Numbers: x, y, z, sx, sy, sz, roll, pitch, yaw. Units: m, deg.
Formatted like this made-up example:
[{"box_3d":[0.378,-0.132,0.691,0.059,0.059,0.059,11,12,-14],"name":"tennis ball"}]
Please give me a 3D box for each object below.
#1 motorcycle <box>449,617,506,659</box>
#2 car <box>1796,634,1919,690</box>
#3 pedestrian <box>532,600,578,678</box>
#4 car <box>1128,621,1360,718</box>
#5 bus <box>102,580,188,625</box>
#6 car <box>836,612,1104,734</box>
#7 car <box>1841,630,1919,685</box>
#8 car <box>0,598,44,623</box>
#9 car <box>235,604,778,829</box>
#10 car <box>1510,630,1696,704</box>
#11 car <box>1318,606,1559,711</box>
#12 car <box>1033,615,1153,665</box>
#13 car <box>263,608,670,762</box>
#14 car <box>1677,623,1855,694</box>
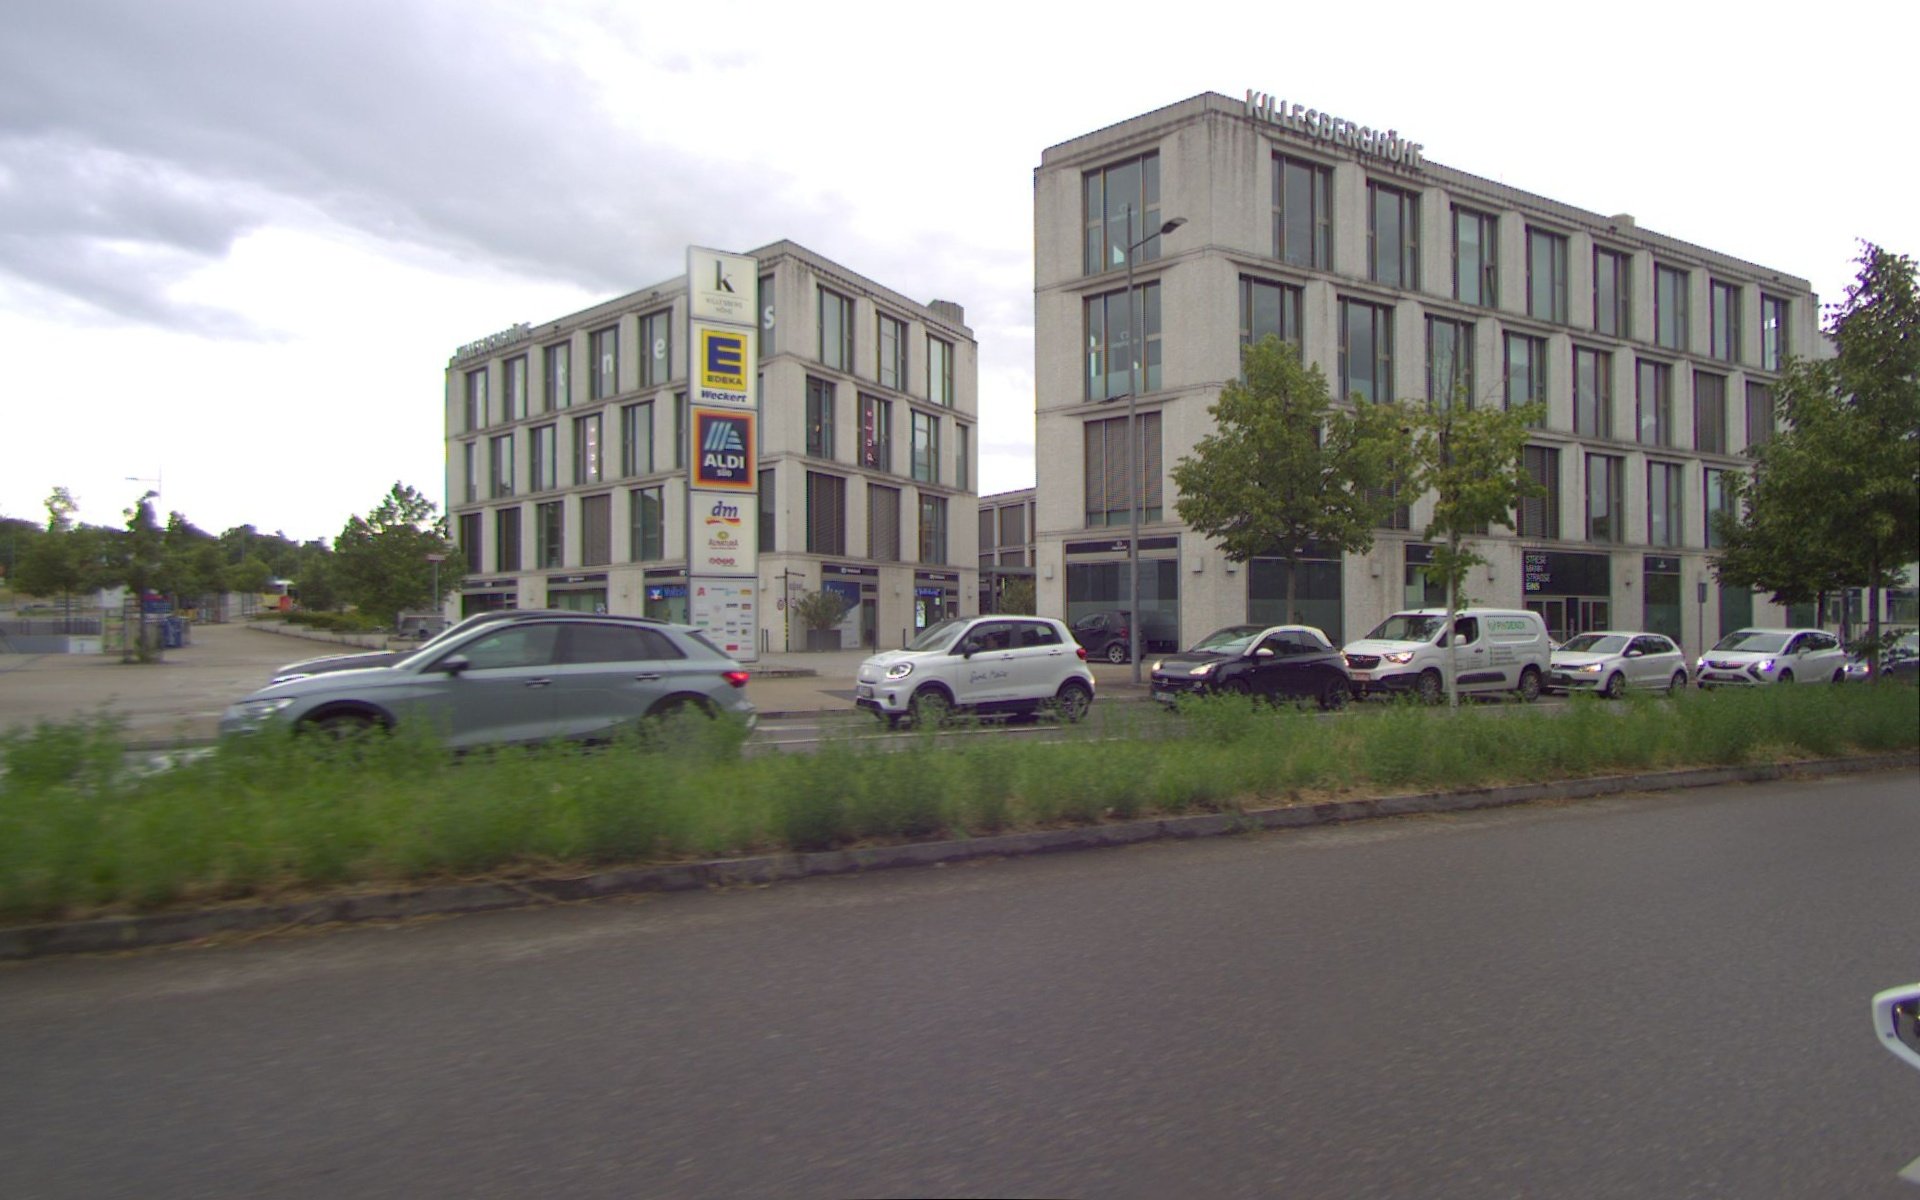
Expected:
[{"box_3d":[-16.866,1.301,35.130,1.737,1.421,0.523,0,0,-35],"name":"motorcycle"},{"box_3d":[25.697,1.715,28.480,3.945,1.429,1.635,0,-2,-27],"name":"car"},{"box_3d":[-9.070,0.861,22.518,0.737,1.709,0.681,0,0,3],"name":"pedestrian"},{"box_3d":[4.901,1.125,17.293,3.703,1.479,1.708,0,-2,-28],"name":"car"},{"box_3d":[-58.407,0.225,72.263,2.846,3.028,9.933,1,-1,-28],"name":"bus"},{"box_3d":[0.169,1.002,14.931,3.656,1.597,1.643,0,-2,-29],"name":"car"},{"box_3d":[34.218,2.080,36.177,5.197,1.839,2.113,3,-2,-29],"name":"car"},{"box_3d":[-79.714,0.887,85.374,1.977,2.040,3.966,0,0,-31],"name":"car"},{"box_3d":[-3.927,0.864,9.158,4.113,1.596,1.840,-1,1,-29],"name":"car"},{"box_3d":[14.437,1.441,22.525,4.008,1.487,1.737,0,-2,-27],"name":"car"},{"box_3d":[9.452,1.056,19.765,4.712,1.826,1.836,0,0,-28],"name":"car"},{"box_3d":[3.963,1.158,30.148,3.244,1.395,1.561,0,-1,37],"name":"car"},{"box_3d":[-5.659,0.897,11.848,4.014,1.539,1.818,0,-2,-29],"name":"car"},{"box_3d":[20.625,1.444,25.678,4.614,1.622,1.823,0,-2,-28],"name":"car"}]
